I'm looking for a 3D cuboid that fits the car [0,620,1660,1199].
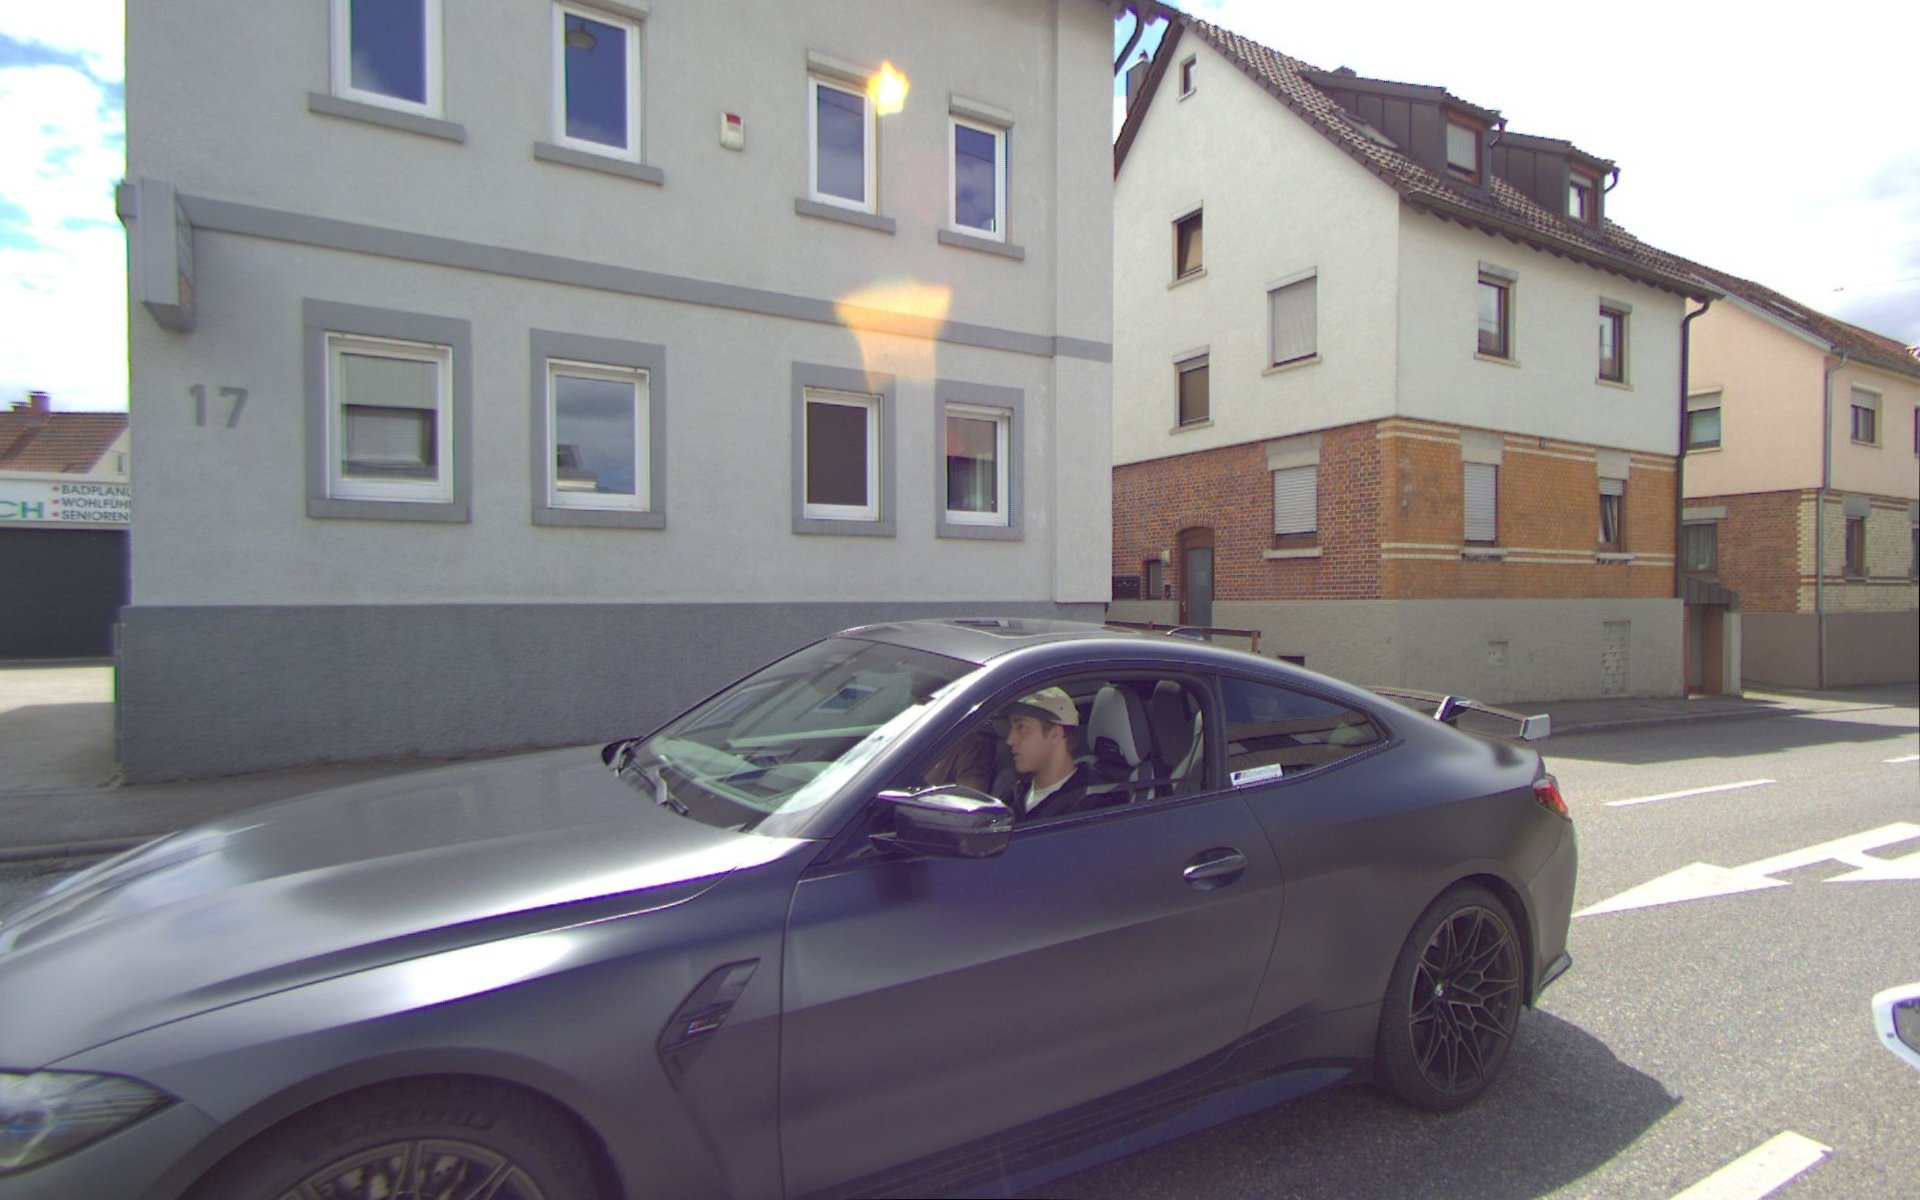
[{"bbox_3d":[0.014,0.824,3.178,4.565,1.476,1.983,1,-2,-32],"label":"car"}]
